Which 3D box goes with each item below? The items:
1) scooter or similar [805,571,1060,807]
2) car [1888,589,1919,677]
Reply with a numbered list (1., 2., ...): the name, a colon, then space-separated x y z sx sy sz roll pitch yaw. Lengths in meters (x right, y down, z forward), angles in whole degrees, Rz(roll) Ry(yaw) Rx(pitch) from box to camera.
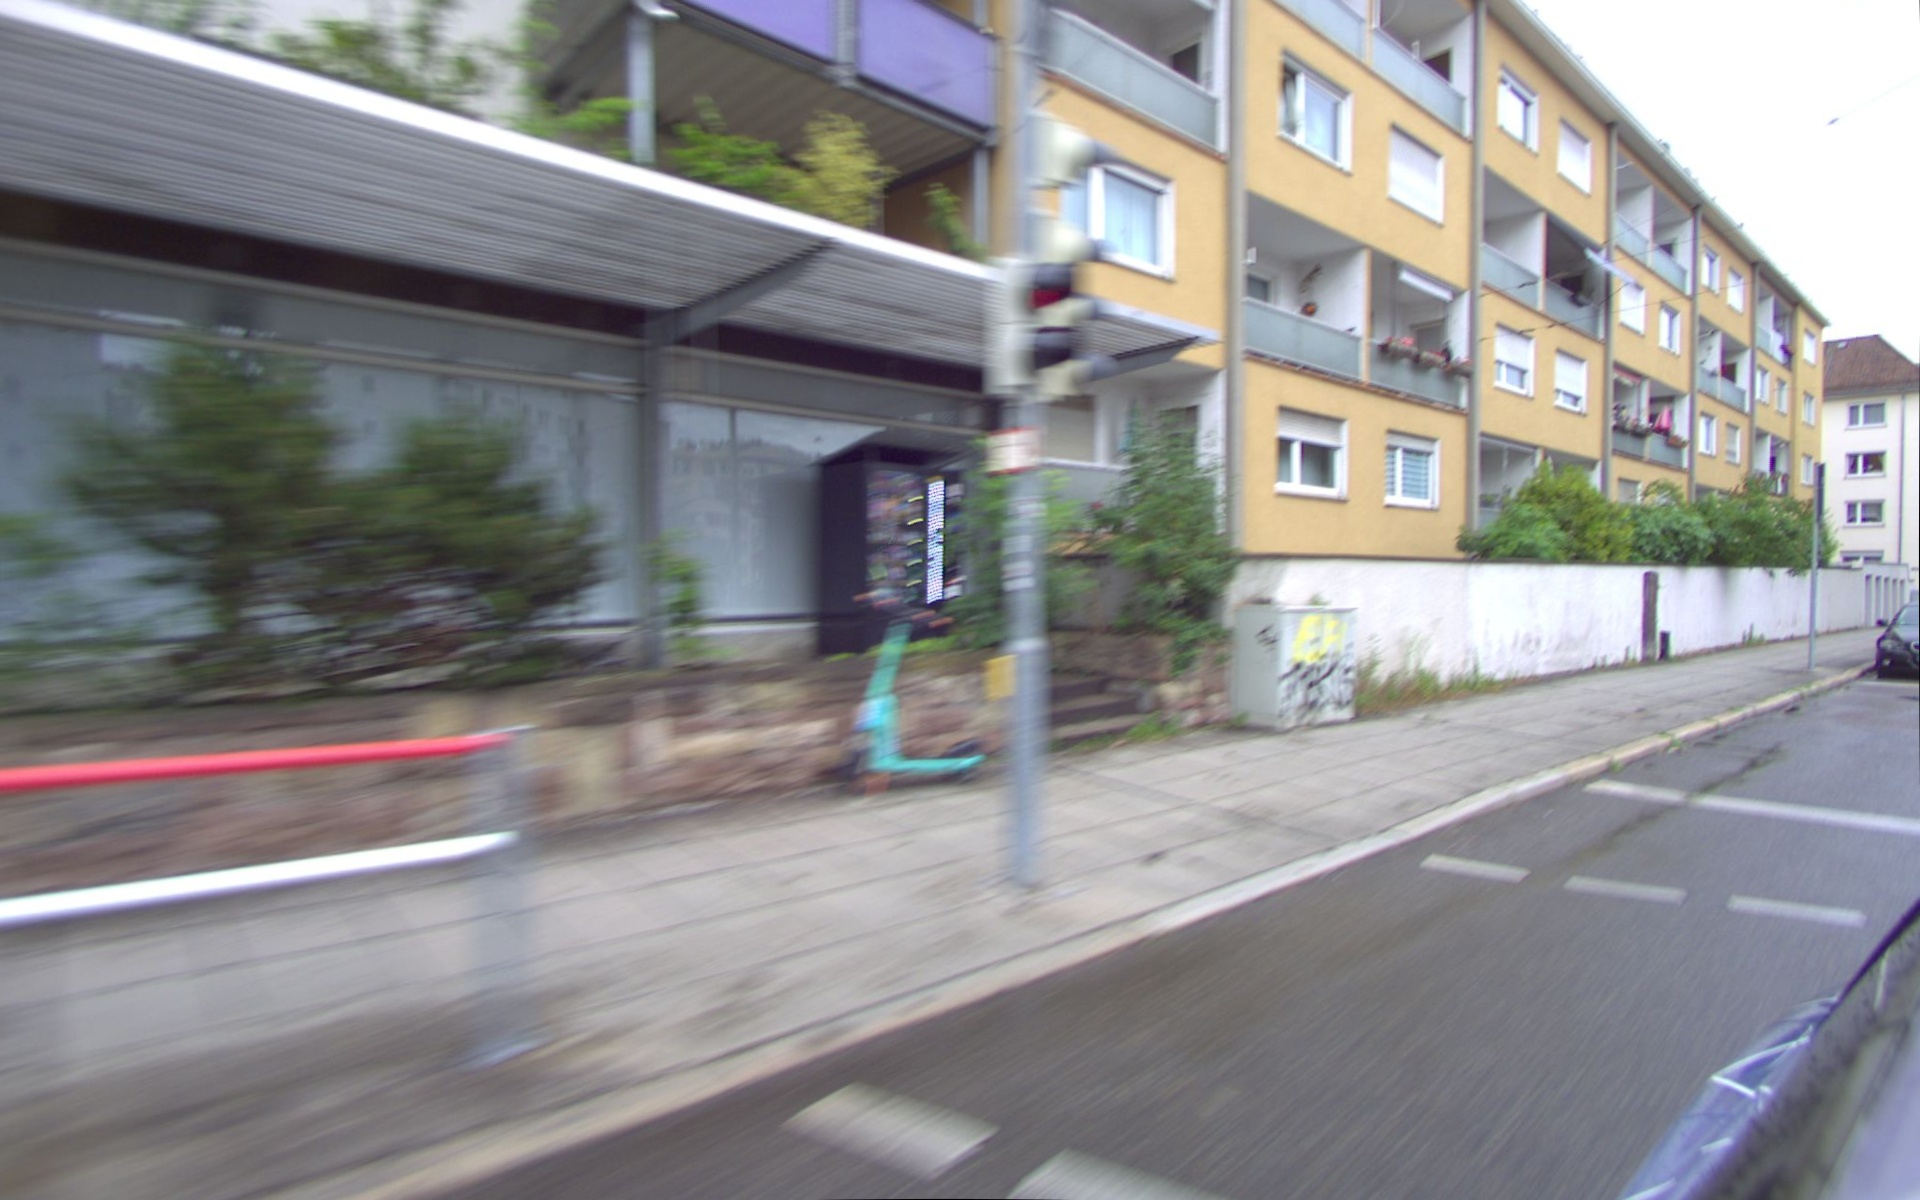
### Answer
1. scooter or similar: -0.143 0.509 6.608 1.630 1.343 0.536 0 6 -41
2. car: 18.856 0.565 18.975 4.402 1.478 1.732 -2 1 -42
